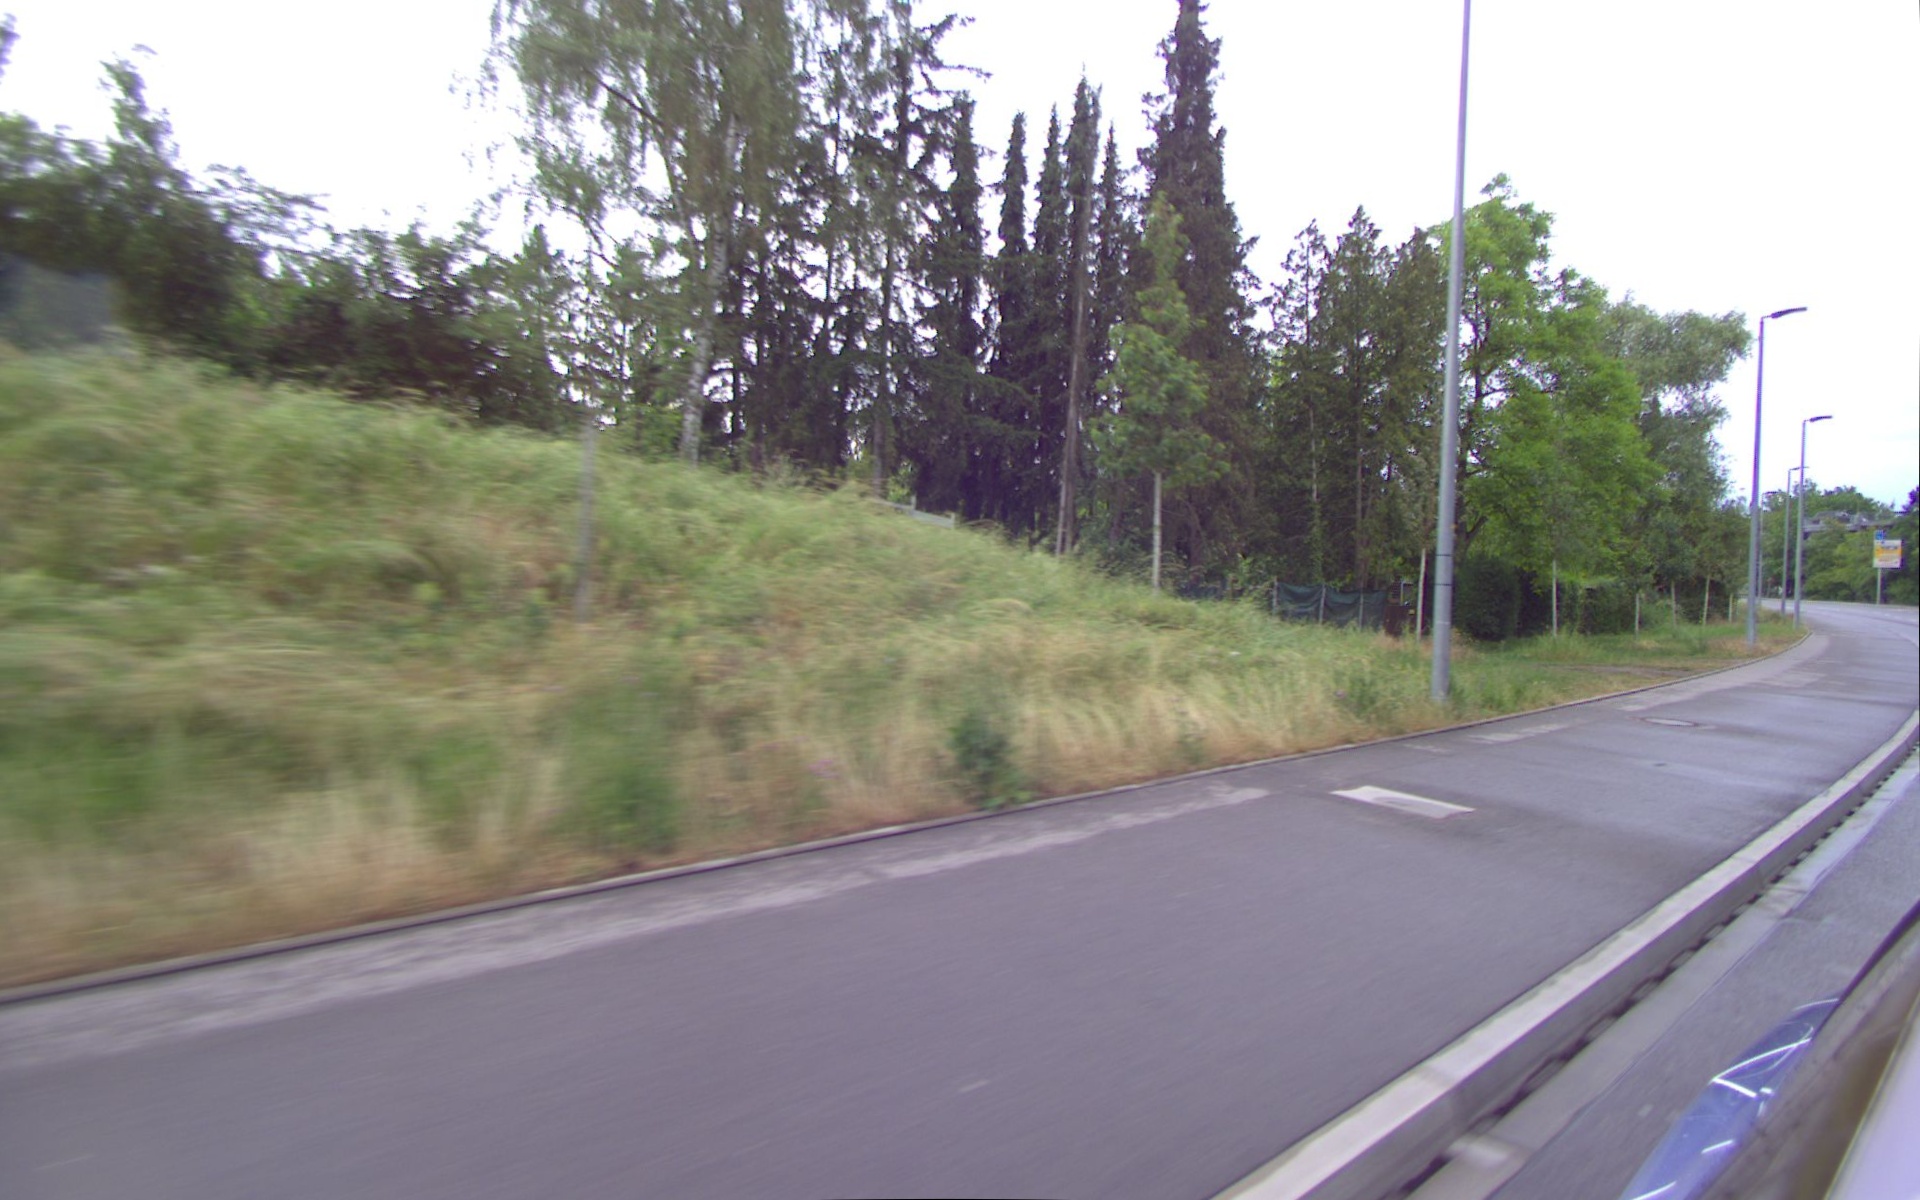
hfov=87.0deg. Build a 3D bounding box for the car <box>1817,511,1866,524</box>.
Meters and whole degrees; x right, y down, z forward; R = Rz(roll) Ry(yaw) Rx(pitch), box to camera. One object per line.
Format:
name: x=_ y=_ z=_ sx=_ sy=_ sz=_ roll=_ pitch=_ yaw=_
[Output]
car: x=104.849 y=-9.803 z=120.375 sx=1.963 sy=1.537 sz=4.000 roll=0 pitch=3 yaw=-37
